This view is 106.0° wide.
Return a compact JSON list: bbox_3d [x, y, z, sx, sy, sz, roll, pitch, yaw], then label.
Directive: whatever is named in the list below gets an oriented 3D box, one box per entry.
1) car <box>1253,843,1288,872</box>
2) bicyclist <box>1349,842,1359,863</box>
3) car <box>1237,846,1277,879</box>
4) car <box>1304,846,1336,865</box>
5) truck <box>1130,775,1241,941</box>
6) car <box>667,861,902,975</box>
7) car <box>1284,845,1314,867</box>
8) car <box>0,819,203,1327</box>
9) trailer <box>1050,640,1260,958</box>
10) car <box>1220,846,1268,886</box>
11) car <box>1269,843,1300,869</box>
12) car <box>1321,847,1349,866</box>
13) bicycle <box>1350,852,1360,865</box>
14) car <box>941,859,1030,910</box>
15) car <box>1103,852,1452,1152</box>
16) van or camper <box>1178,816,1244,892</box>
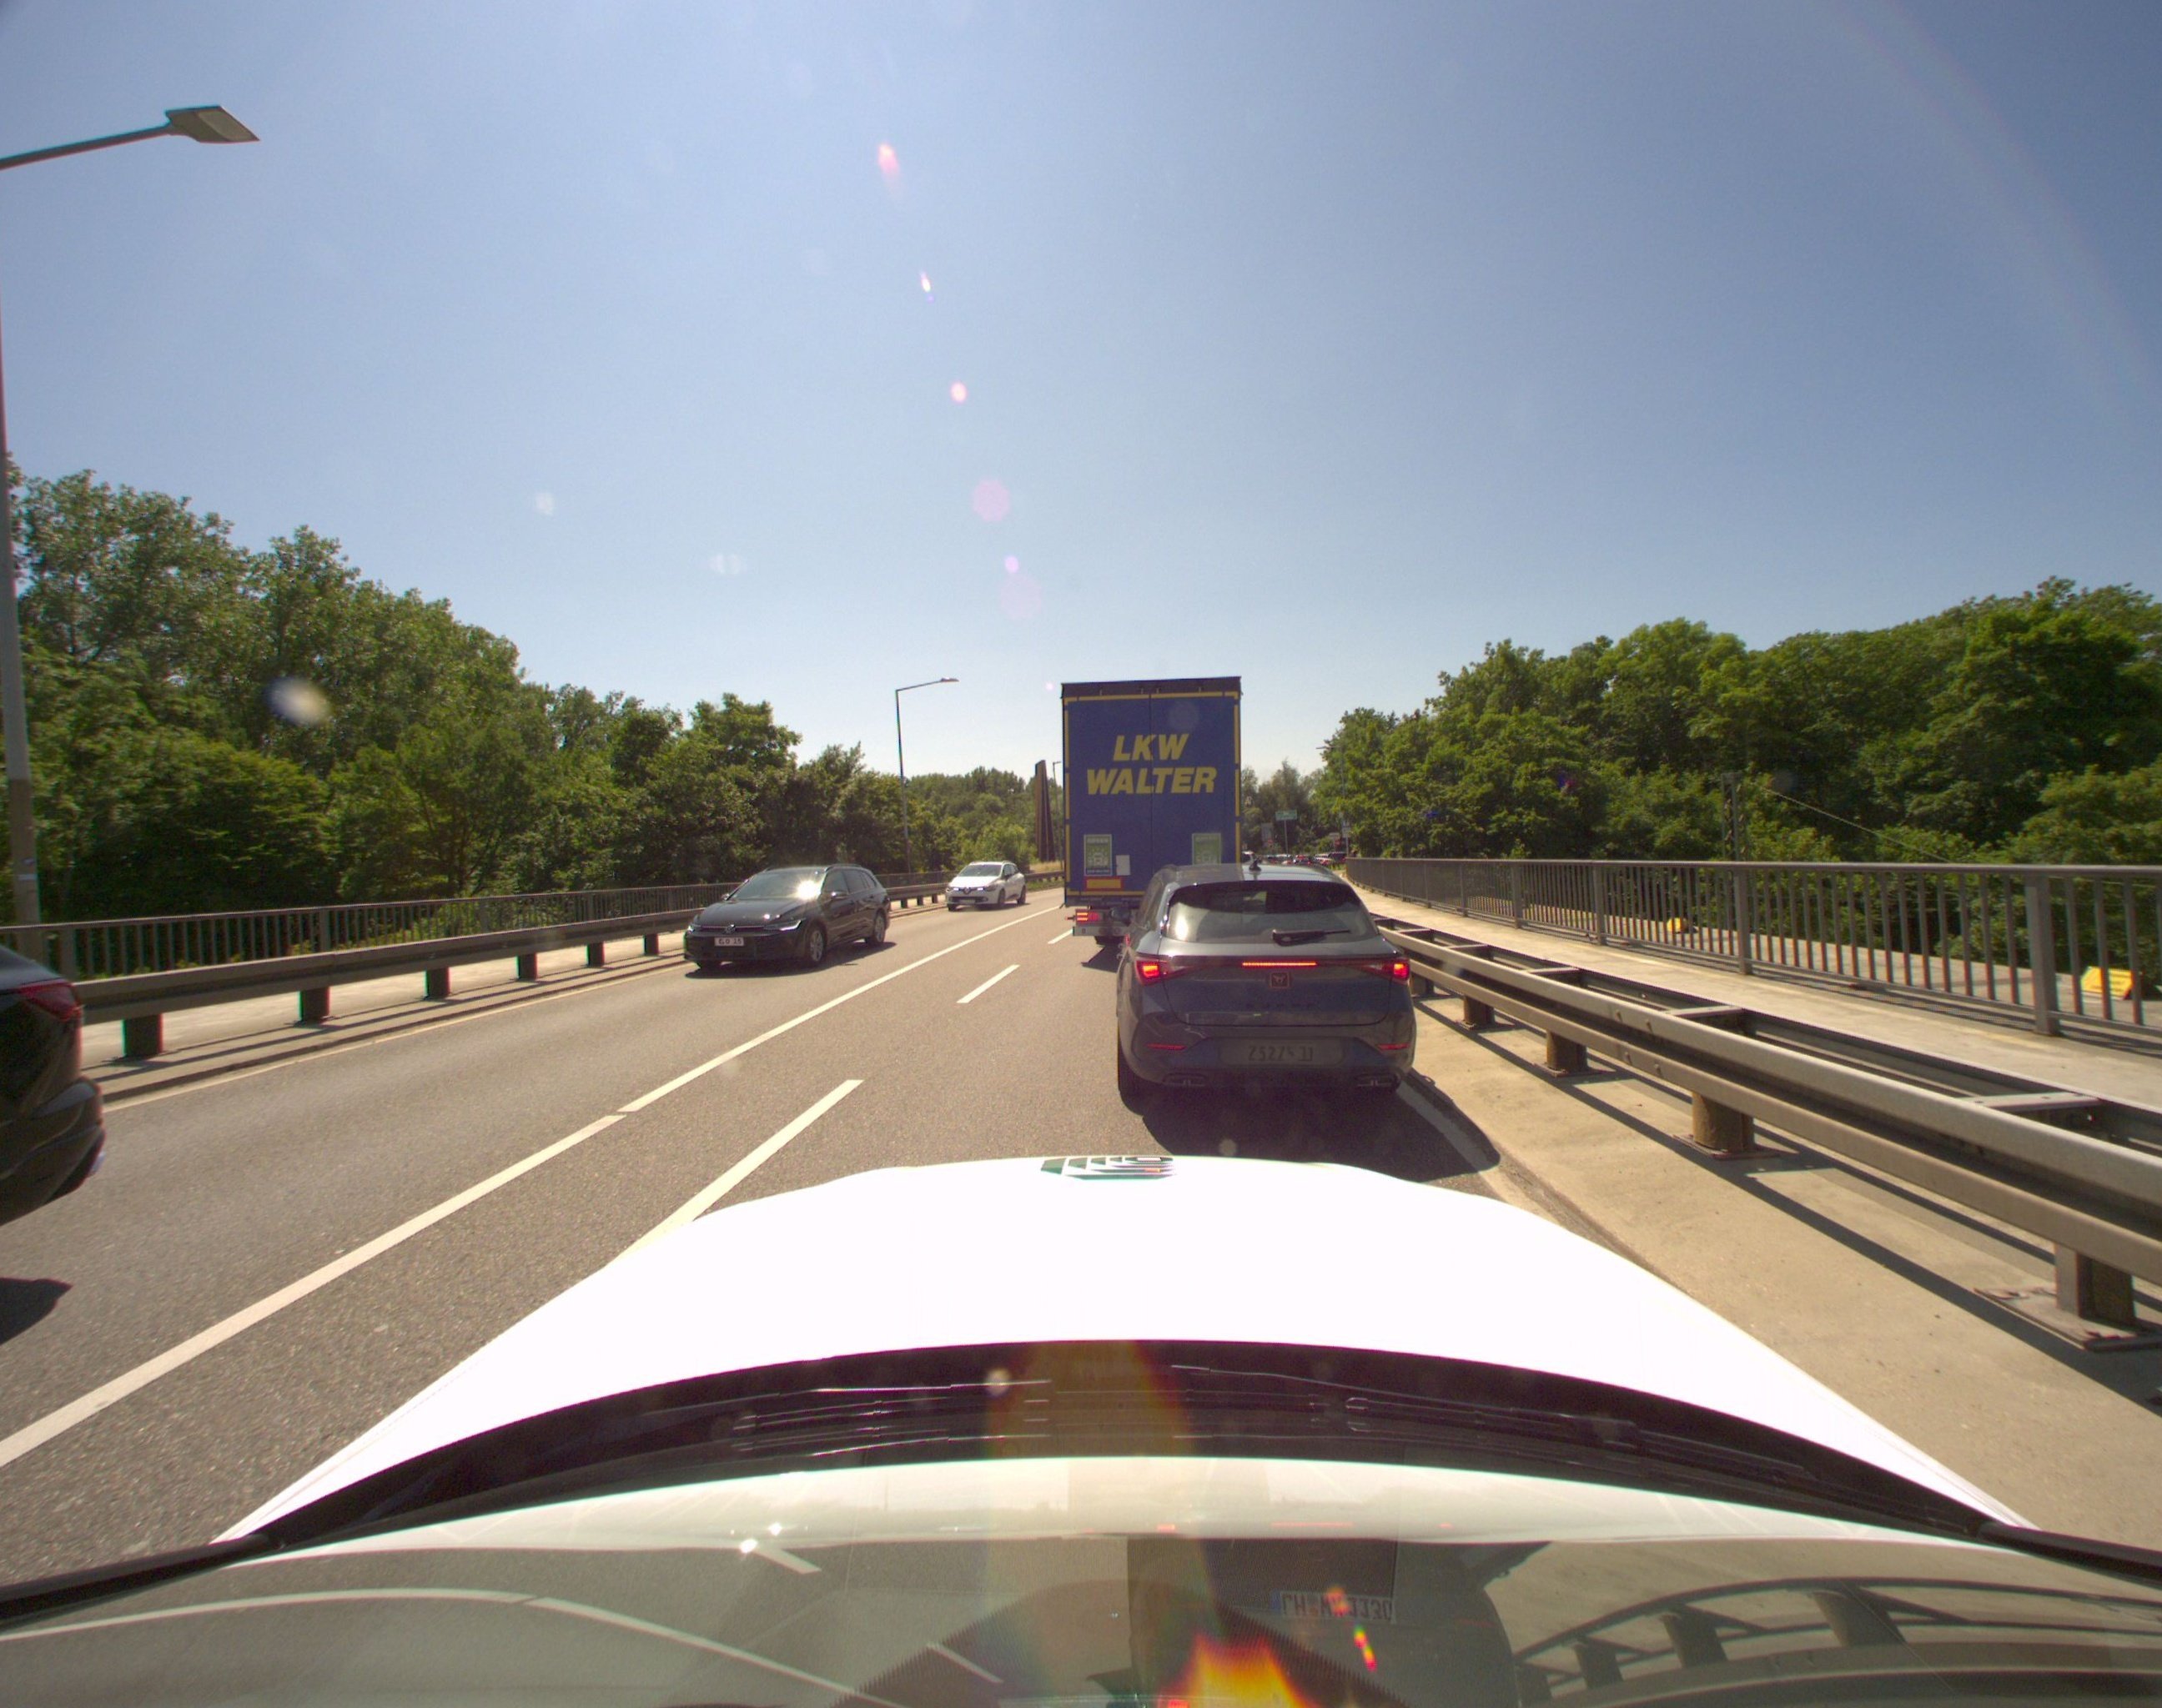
[{"bbox_3d":[12.884,0.214,55.256,1.706,1.844,4.021,-1,0,21],"label":"car"},{"bbox_3d":[22.873,-0.101,68.198,0.574,1.683,0.731,-4,-1,11],"label":"bicyclist"},{"bbox_3d":[10.261,0.455,47.205,1.706,1.802,4.020,-1,0,20],"label":"car"},{"bbox_3d":[21.796,0.167,74.056,1.975,1.575,4.024,0,-1,28],"label":"car"},{"bbox_3d":[3.344,0.122,25.097,2.887,4.418,6.573,-1,0,10],"label":"truck"},{"bbox_3d":[-4.483,0.882,13.154,1.701,1.469,4.468,-1,0,7],"label":"car"},{"bbox_3d":[18.218,0.170,67.875,1.670,1.760,4.023,-1,-1,25],"label":"car"},{"bbox_3d":[-4.574,0.737,0.987,1.959,1.673,4.613,-1,0,0],"label":"car"},{"bbox_3d":[2.059,-0.762,17.649,2.887,4.418,12.466,-1,0,10],"label":"trailer"},{"bbox_3d":[8.233,0.575,40.930,1.706,1.844,4.020,-1,0,20],"label":"car"},{"bbox_3d":[15.353,0.140,61.288,1.706,1.844,4.021,-1,0,21],"label":"car"},{"bbox_3d":[24.969,0.245,79.929,1.669,1.760,4.025,-2,-1,30],"label":"car"},{"bbox_3d":[22.907,0.389,68.169,0.578,1.035,1.489,-4,-1,12],"label":"bicycle"},{"bbox_3d":[-2.953,0.909,26.020,1.589,1.449,4.068,-1,0,11],"label":"car"},{"bbox_3d":[1.108,0.743,6.001,1.669,1.456,3.963,-1,0,4],"label":"car"},{"bbox_3d":[5.495,-0.002,33.620,2.139,2.815,6.411,-1,0,14],"label":"van or camper"}]
